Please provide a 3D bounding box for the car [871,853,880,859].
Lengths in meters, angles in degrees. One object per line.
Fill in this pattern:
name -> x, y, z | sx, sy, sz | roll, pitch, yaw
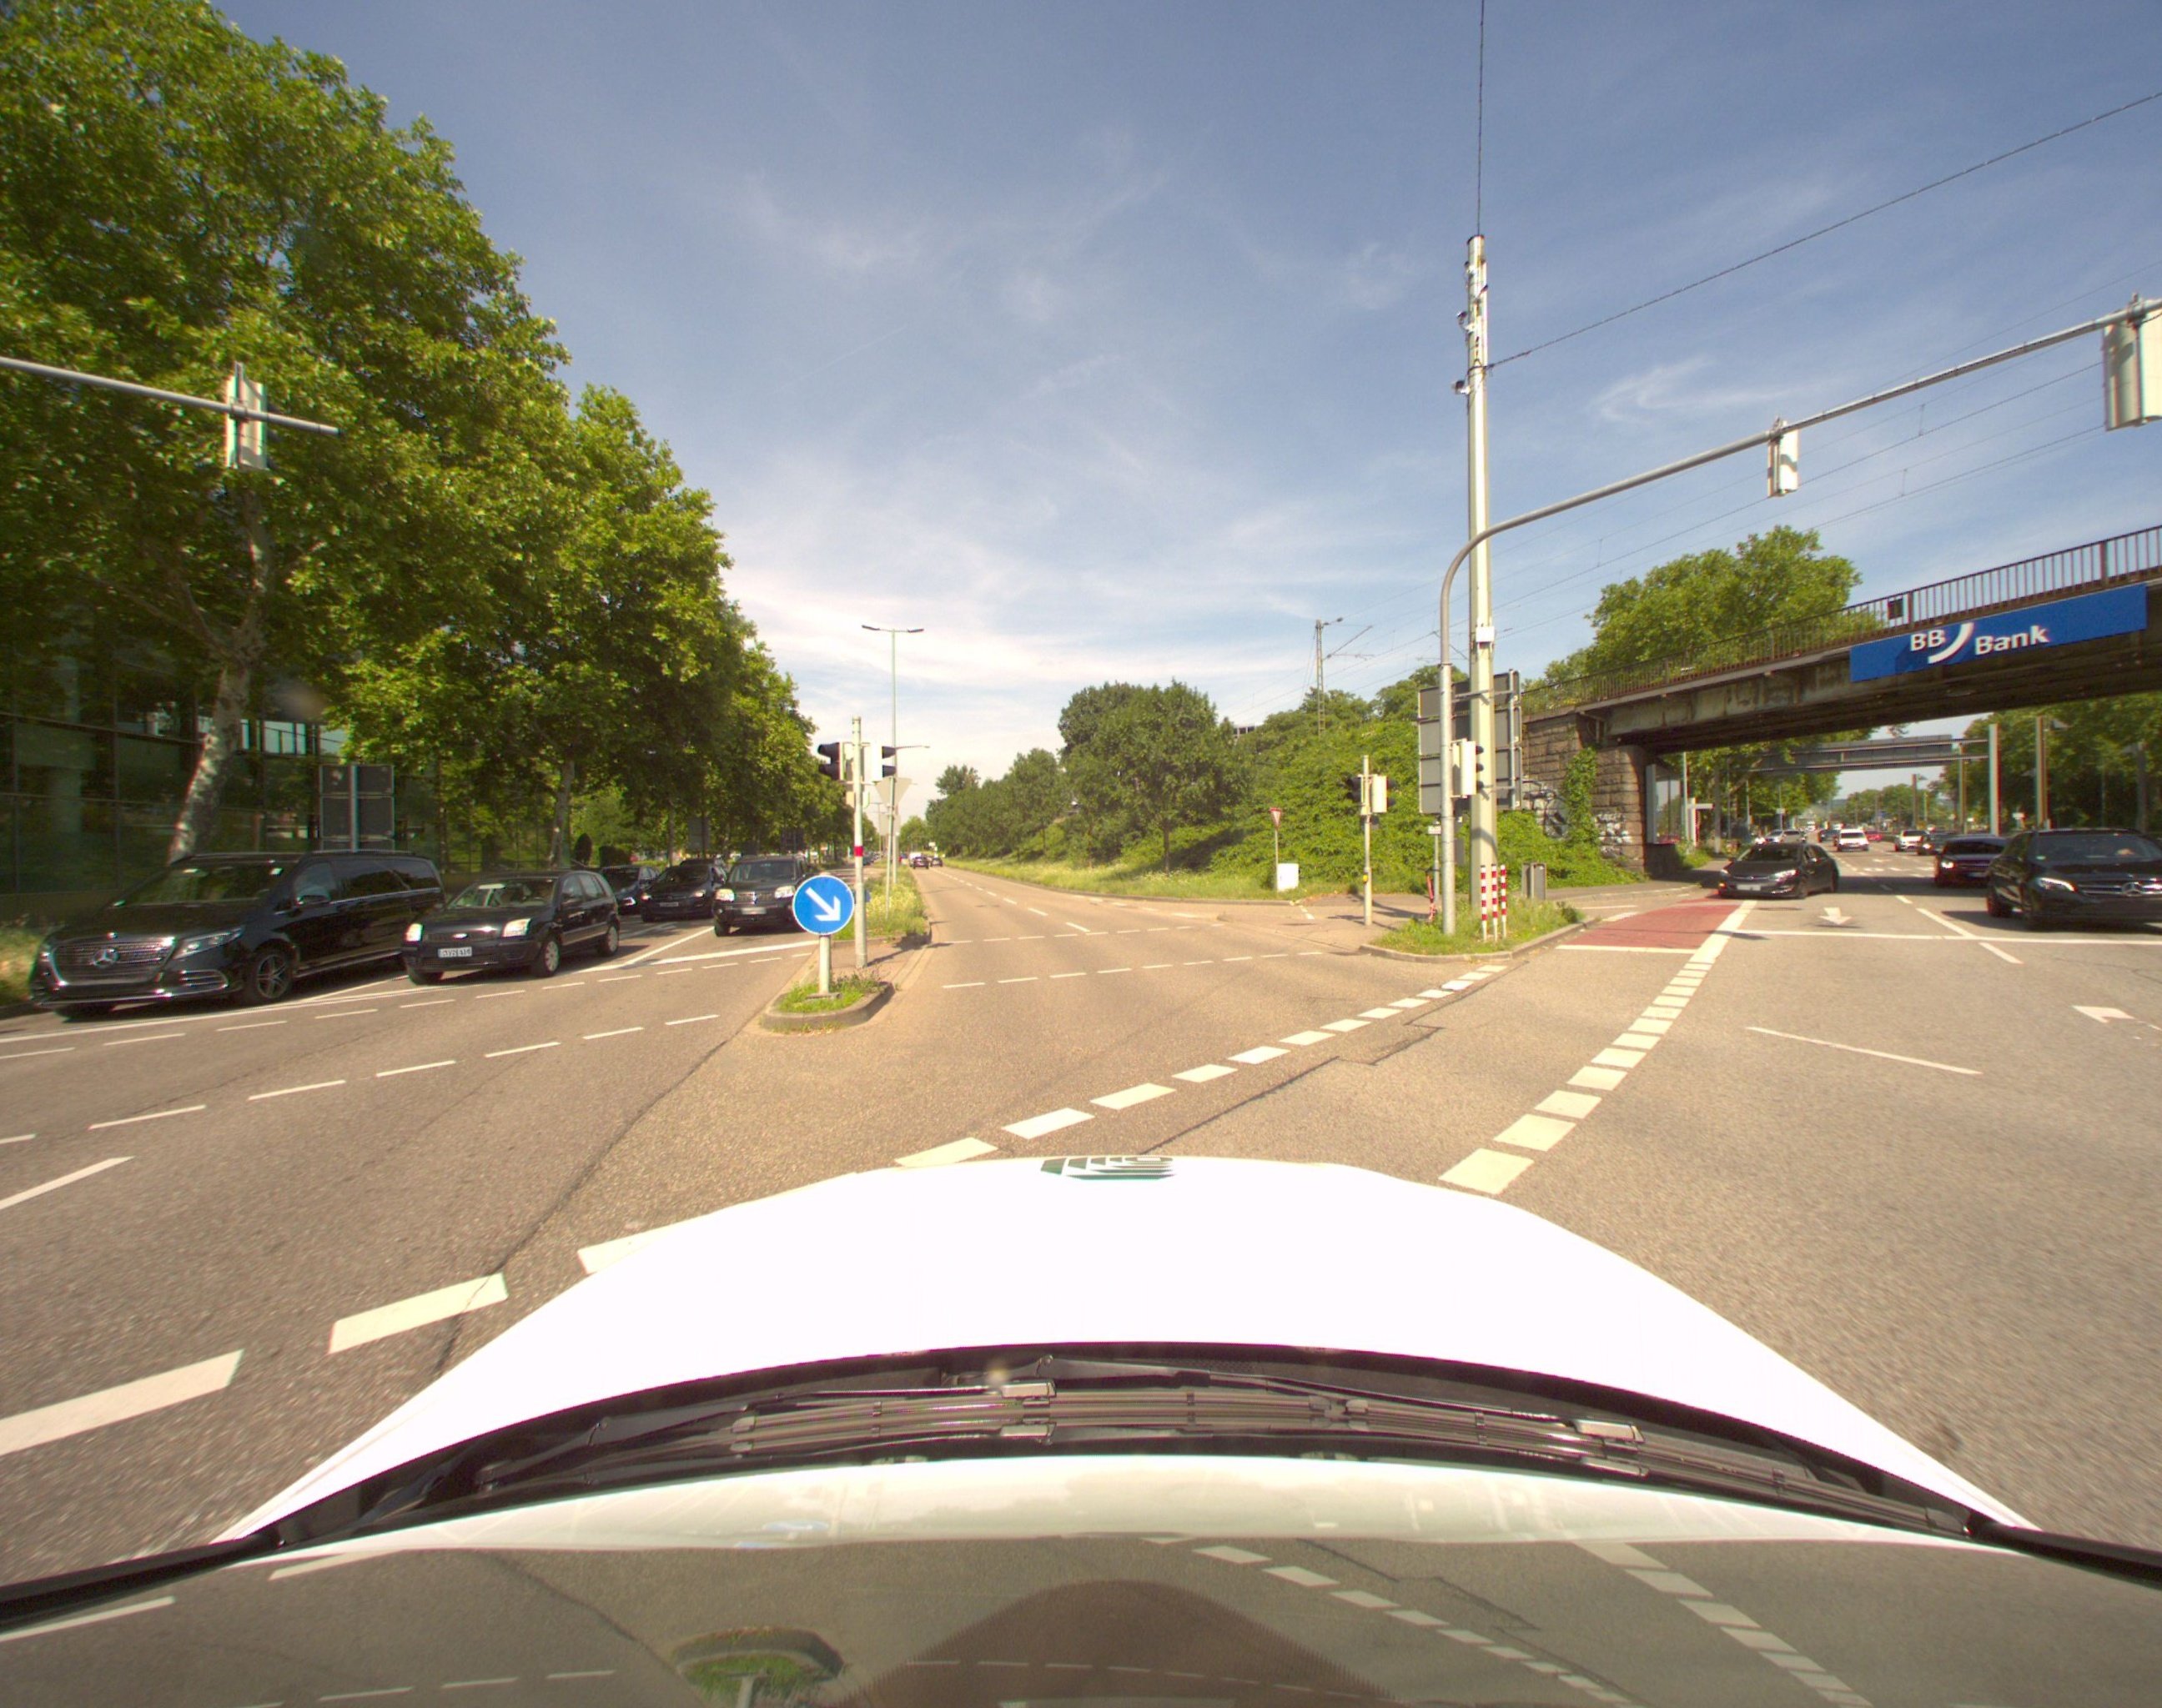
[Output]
car -> -60.580, 0.620, 240.135 | 1.993, 1.775, 3.987 | -1, 0, -10

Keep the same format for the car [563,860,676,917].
car -> -14.950, 1.055, 26.679 | 1.889, 1.590, 4.427 | -3, 0, -12

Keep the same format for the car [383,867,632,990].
car -> -8.582, 0.990, 12.645 | 1.763, 1.475, 3.940 | -1, 0, -13

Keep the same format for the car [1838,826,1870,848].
car -> 63.243, -1.357, 66.687 | 1.781, 1.717, 4.024 | -1, 0, 43

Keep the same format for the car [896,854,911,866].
car -> -25.508, 0.877, 116.894 | 1.996, 1.684, 3.982 | -1, 0, -13

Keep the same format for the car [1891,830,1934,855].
car -> 62.142, -0.860, 60.935 | 1.975, 1.831, 4.346 | -1, 0, 43

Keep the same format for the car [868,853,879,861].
car -> -39.830, 0.507, 156.098 | 1.774, 1.467, 4.651 | -2, 0, -12

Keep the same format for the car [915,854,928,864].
car -> -26.188, 0.821, 133.463 | 1.995, 1.708, 4.245 | -1, 0, -12

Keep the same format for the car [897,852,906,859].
car -> -45.407, 0.408, 205.936 | 1.996, 1.662, 4.228 | -1, 0, -13

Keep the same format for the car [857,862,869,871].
car -> -35.766, 2.030, 133.692 | 1.830, 1.467, 4.963 | -1, 0, -14

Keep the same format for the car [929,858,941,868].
car -> -27.738, 1.665, 154.451 | 1.996, 1.708, 4.244 | -1, 0, -13

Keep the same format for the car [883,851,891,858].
car -> -55.705, 0.095, 233.643 | 1.995, 1.860, 3.984 | -1, 0, -11

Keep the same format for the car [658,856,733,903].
car -> -17.015, 1.051, 36.180 | 1.996, 1.835, 4.631 | -2, 1, -13

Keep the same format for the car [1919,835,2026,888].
car -> 26.262, 0.175, 24.111 | 1.686, 1.420, 4.025 | -1, 0, 41

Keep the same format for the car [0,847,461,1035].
car -> -11.189, 0.900, 11.429 | 1.940, 1.919, 5.205 | -1, 1, -13

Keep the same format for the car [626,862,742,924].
car -> -11.117, 1.020, 23.135 | 1.837, 1.462, 4.498 | -3, 0, -12

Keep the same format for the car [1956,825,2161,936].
car -> 16.723, 0.341, 13.802 | 1.974, 1.596, 4.474 | -1, 1, 39

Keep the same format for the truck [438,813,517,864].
truck -> -43.808, -1.015, 58.968 | 8.874, 3.395, 2.690 | -1, 0, 41

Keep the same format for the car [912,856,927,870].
car -> -19.730, 1.087, 99.593 | 1.738, 1.535, 3.984 | 0, 2, -13

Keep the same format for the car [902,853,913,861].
car -> -34.623, 0.555, 162.236 | 1.996, 1.629, 4.069 | -1, 0, -13

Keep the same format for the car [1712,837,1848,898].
car -> 19.253, 0.316, 22.385 | 4.233, 1.506, 1.808 | -1, 0, -35

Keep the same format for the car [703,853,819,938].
car -> -7.054, 0.804, 18.388 | 1.810, 1.615, 4.470 | -2, 0, -14

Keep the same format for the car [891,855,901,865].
car -> -29.779, 0.967, 131.043 | 1.628, 1.483, 4.030 | 1, 0, -13

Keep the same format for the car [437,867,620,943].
car -> -13.187, 1.131, 19.877 | 1.893, 1.449, 4.983 | -3, 0, -12

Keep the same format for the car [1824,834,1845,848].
car -> 100.699, -1.709, 108.864 | 1.975, 1.778, 4.344 | -1, 0, 43

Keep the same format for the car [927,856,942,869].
car -> -22.062, 1.265, 122.389 | 2.020, 1.837, 3.984 | 0, 2, -13
